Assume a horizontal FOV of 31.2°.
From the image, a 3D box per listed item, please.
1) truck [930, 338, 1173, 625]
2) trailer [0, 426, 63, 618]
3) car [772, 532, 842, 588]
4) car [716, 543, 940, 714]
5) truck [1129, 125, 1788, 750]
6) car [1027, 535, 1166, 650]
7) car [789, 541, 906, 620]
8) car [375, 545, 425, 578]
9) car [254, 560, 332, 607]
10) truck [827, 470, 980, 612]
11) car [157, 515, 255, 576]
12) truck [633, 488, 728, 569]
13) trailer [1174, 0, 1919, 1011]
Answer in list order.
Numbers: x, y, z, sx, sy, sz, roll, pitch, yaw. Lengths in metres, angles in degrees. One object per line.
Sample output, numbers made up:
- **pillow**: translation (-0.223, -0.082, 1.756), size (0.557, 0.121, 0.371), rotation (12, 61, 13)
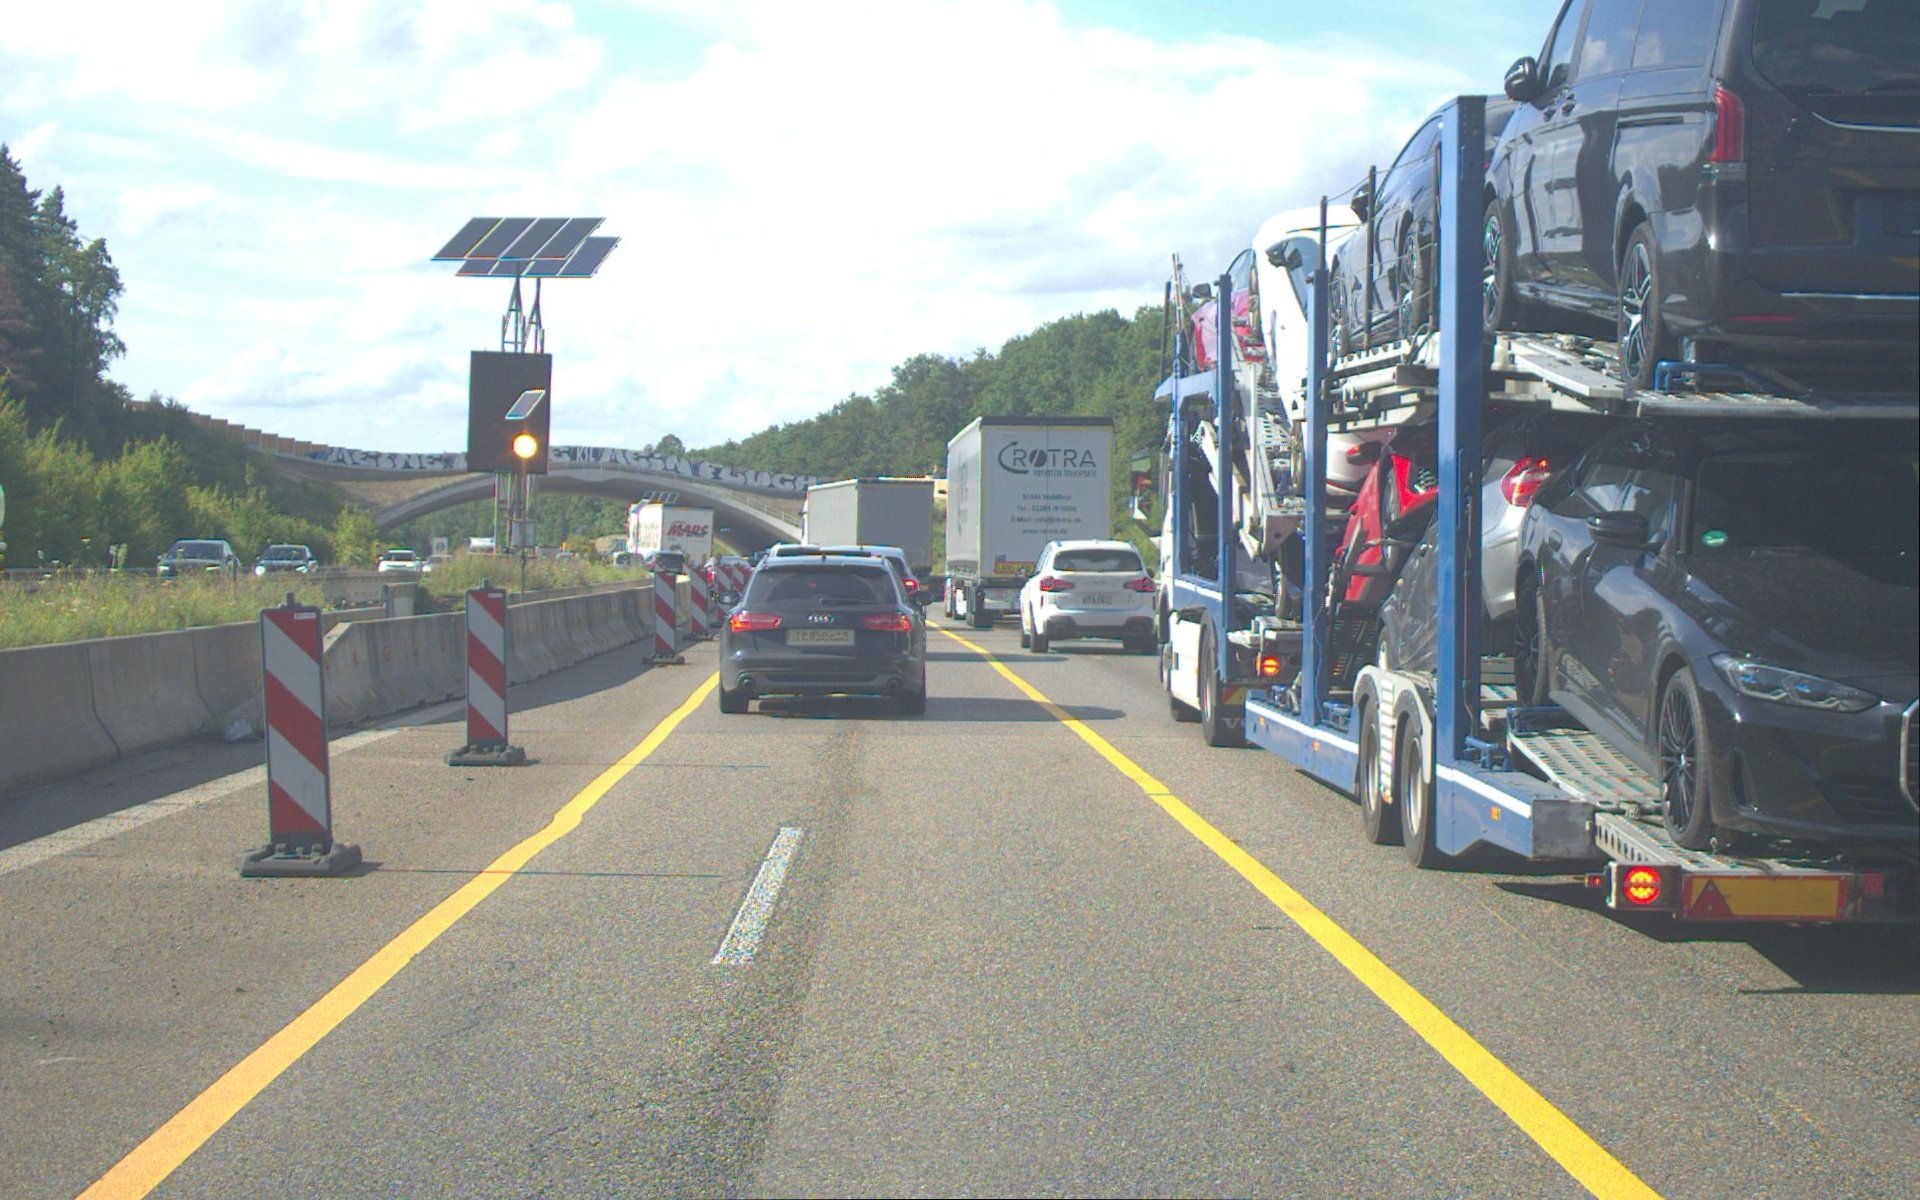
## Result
- **truck**: translation (1.656, -2.323, 72.760), size (3.677, 5.335, 16.203), rotation (1, 1, -3)
- **trailer**: translation (-18.817, -1.417, 61.233), size (2.802, 3.477, 11.113), rotation (1, 1, 0)
- **car**: translation (-4.682, -1.219, 104.667), size (1.890, 1.638, 4.018), rotation (1, 1, -6)
- **car**: translation (-1.153, 0.221, 31.720), size (1.890, 1.441, 4.000), rotation (1, 1, 0)
- **truck**: translation (3.589, -1.148, 27.332), size (3.761, 4.182, 7.952), rotation (1, 1, -2)
- **car**: translation (1.998, -0.133, 51.533), size (1.890, 1.638, 4.018), rotation (1, 1, 0)
- **car**: translation (-2.178, -0.385, 65.583), size (1.890, 1.441, 4.001), rotation (1, 1, -6)
- **car**: translation (-27.193, -1.874, 166.988), size (1.778, 1.597, 4.018), rotation (1, 1, 0)
- **car**: translation (-23.154, -0.581, 119.480), size (1.958, 1.583, 4.483), rotation (1, 1, -2)
- **truck**: translation (-2.052, -2.000, 118.189), size (4.318, 4.584, 11.127), rotation (1, 1, -5)
- **car**: translation (-20.646, -1.479, 94.245), size (1.778, 1.597, 4.018), rotation (1, 1, 0)
- **truck**: translation (-14.156, -3.563, 173.415), size (3.653, 3.915, 11.070), rotation (1, 1, -10)
- **trailer**: translation (3.853, -0.884, 18.926), size (3.726, 4.182, 16.229), rotation (1, 1, -2)
